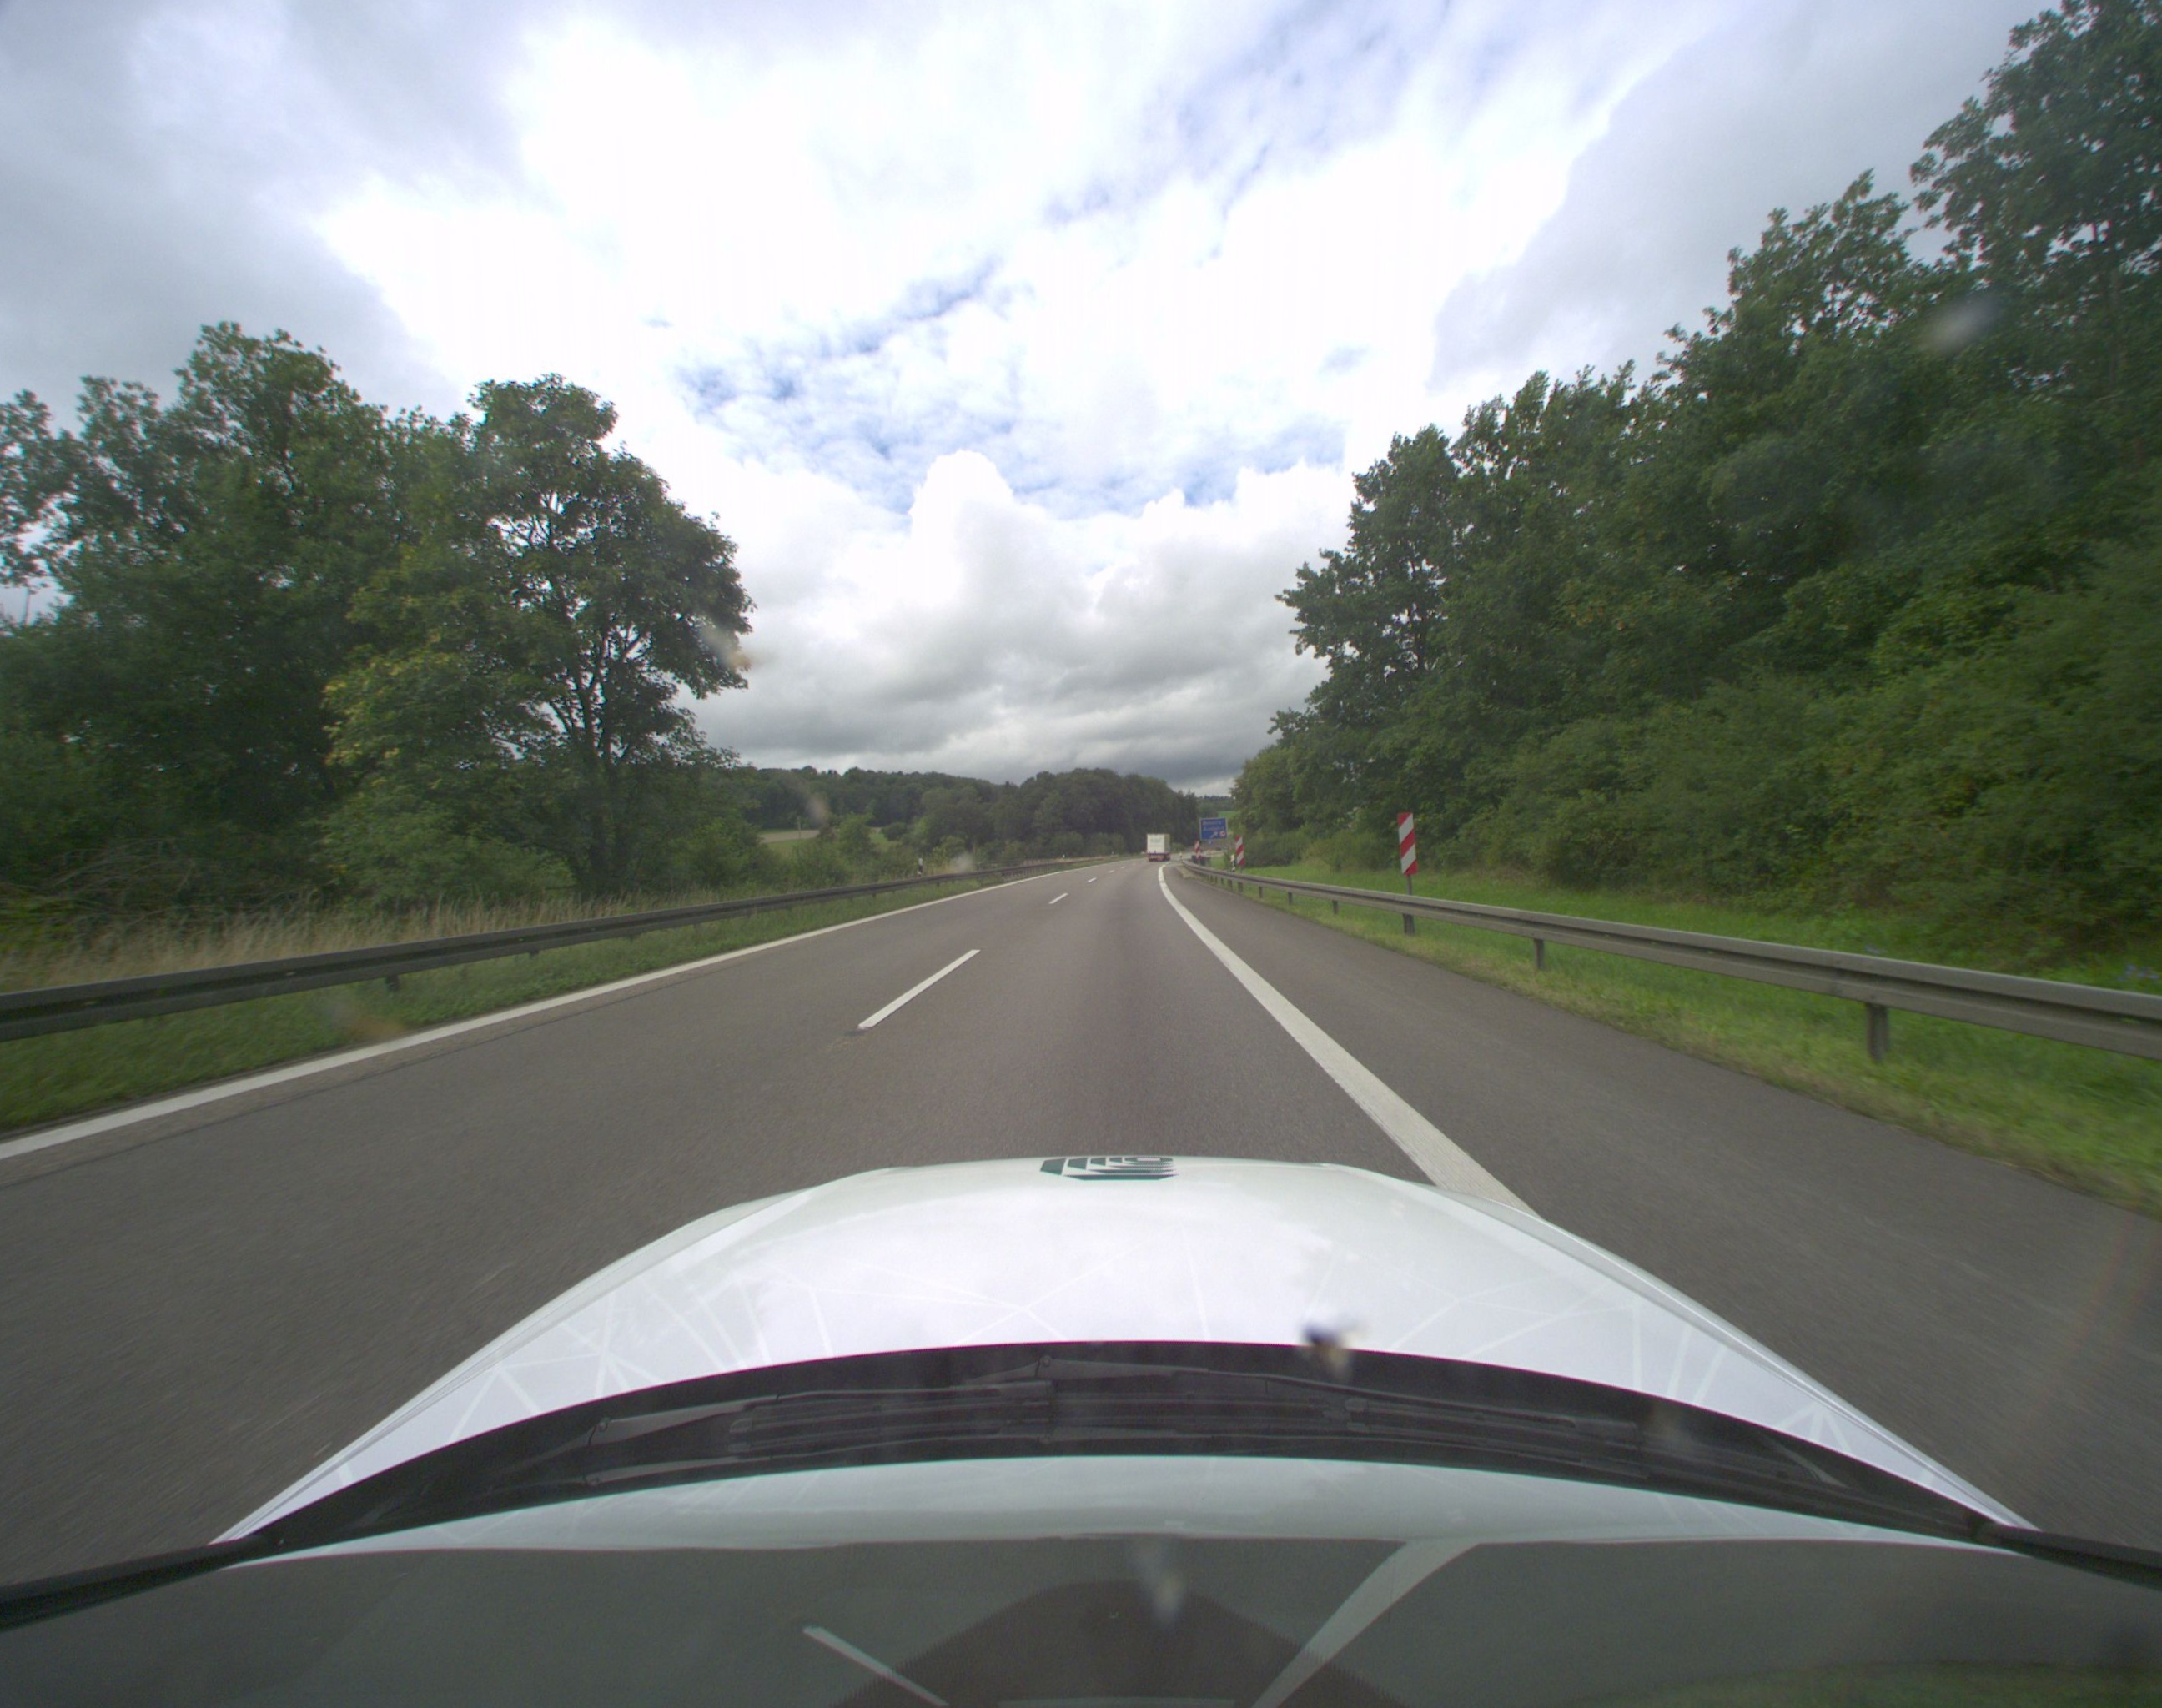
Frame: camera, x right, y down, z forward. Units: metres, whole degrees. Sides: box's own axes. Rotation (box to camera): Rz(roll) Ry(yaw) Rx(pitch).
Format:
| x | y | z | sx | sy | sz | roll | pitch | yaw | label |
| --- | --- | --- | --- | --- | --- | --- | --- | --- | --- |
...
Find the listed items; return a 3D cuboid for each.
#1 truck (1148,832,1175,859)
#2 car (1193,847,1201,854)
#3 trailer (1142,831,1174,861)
| x | y | z | sx | sy | sz | roll | pitch | yaw | label |
| --- | --- | --- | --- | --- | --- | --- | --- | --- | --- |
| 12.993 | -1.288 | 130.561 | 3.765 | 4.131 | 8.286 | -1 | 0 | 9 | truck |
| 34.164 | -0.985 | 239.731 | 1.891 | 1.795 | 4.012 | -1 | -1 | 11 | car |
| 11.764 | -1.225 | 123.079 | 3.783 | 4.174 | 14.847 | -1 | 0 | 9 | trailer |
